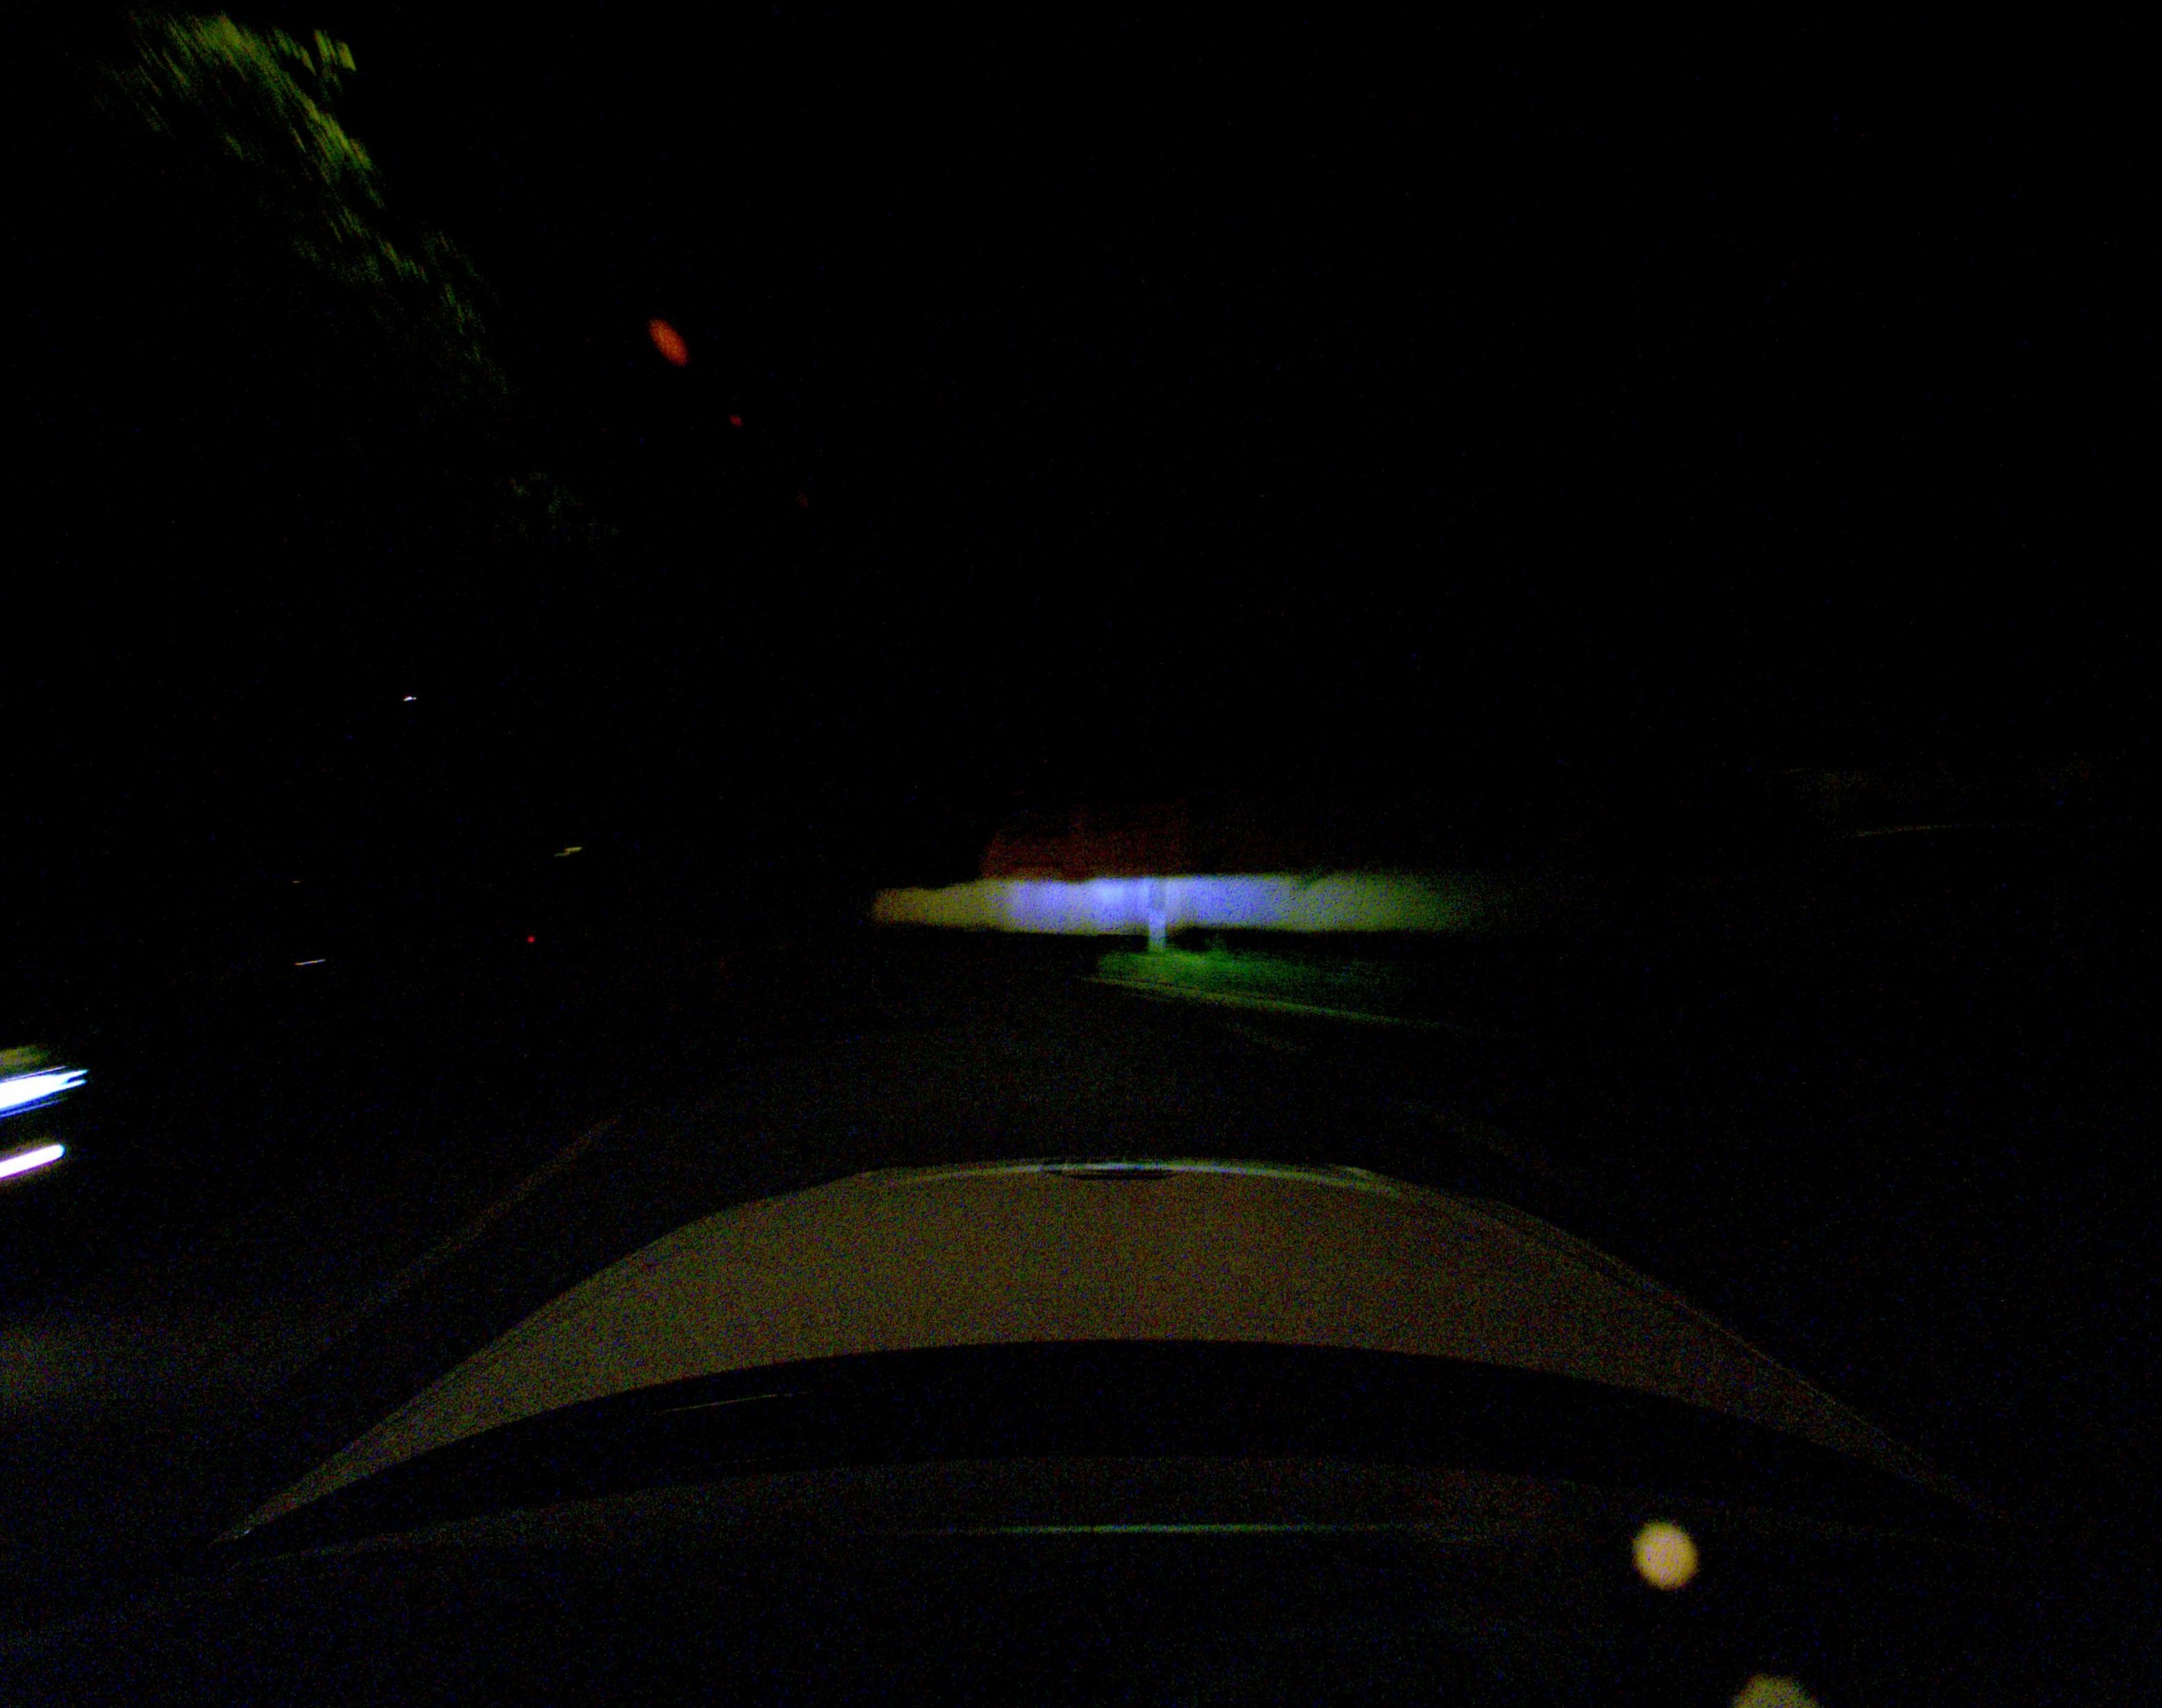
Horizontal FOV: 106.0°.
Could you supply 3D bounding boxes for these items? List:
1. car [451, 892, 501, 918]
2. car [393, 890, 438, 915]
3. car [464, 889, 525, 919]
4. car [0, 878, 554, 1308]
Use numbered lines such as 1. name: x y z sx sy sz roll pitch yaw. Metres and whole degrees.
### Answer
1. car: -36.462 3.049 49.062 3.669 1.461 1.624 -1 -2 41
2. car: -49.291 3.593 60.285 4.697 1.762 1.734 -4 -7 42
3. car: -33.188 2.824 46.054 4.667 1.594 1.771 -3 -6 42
4. car: -4.981 0.904 4.745 1.727 1.430 4.273 -1 -1 -11
